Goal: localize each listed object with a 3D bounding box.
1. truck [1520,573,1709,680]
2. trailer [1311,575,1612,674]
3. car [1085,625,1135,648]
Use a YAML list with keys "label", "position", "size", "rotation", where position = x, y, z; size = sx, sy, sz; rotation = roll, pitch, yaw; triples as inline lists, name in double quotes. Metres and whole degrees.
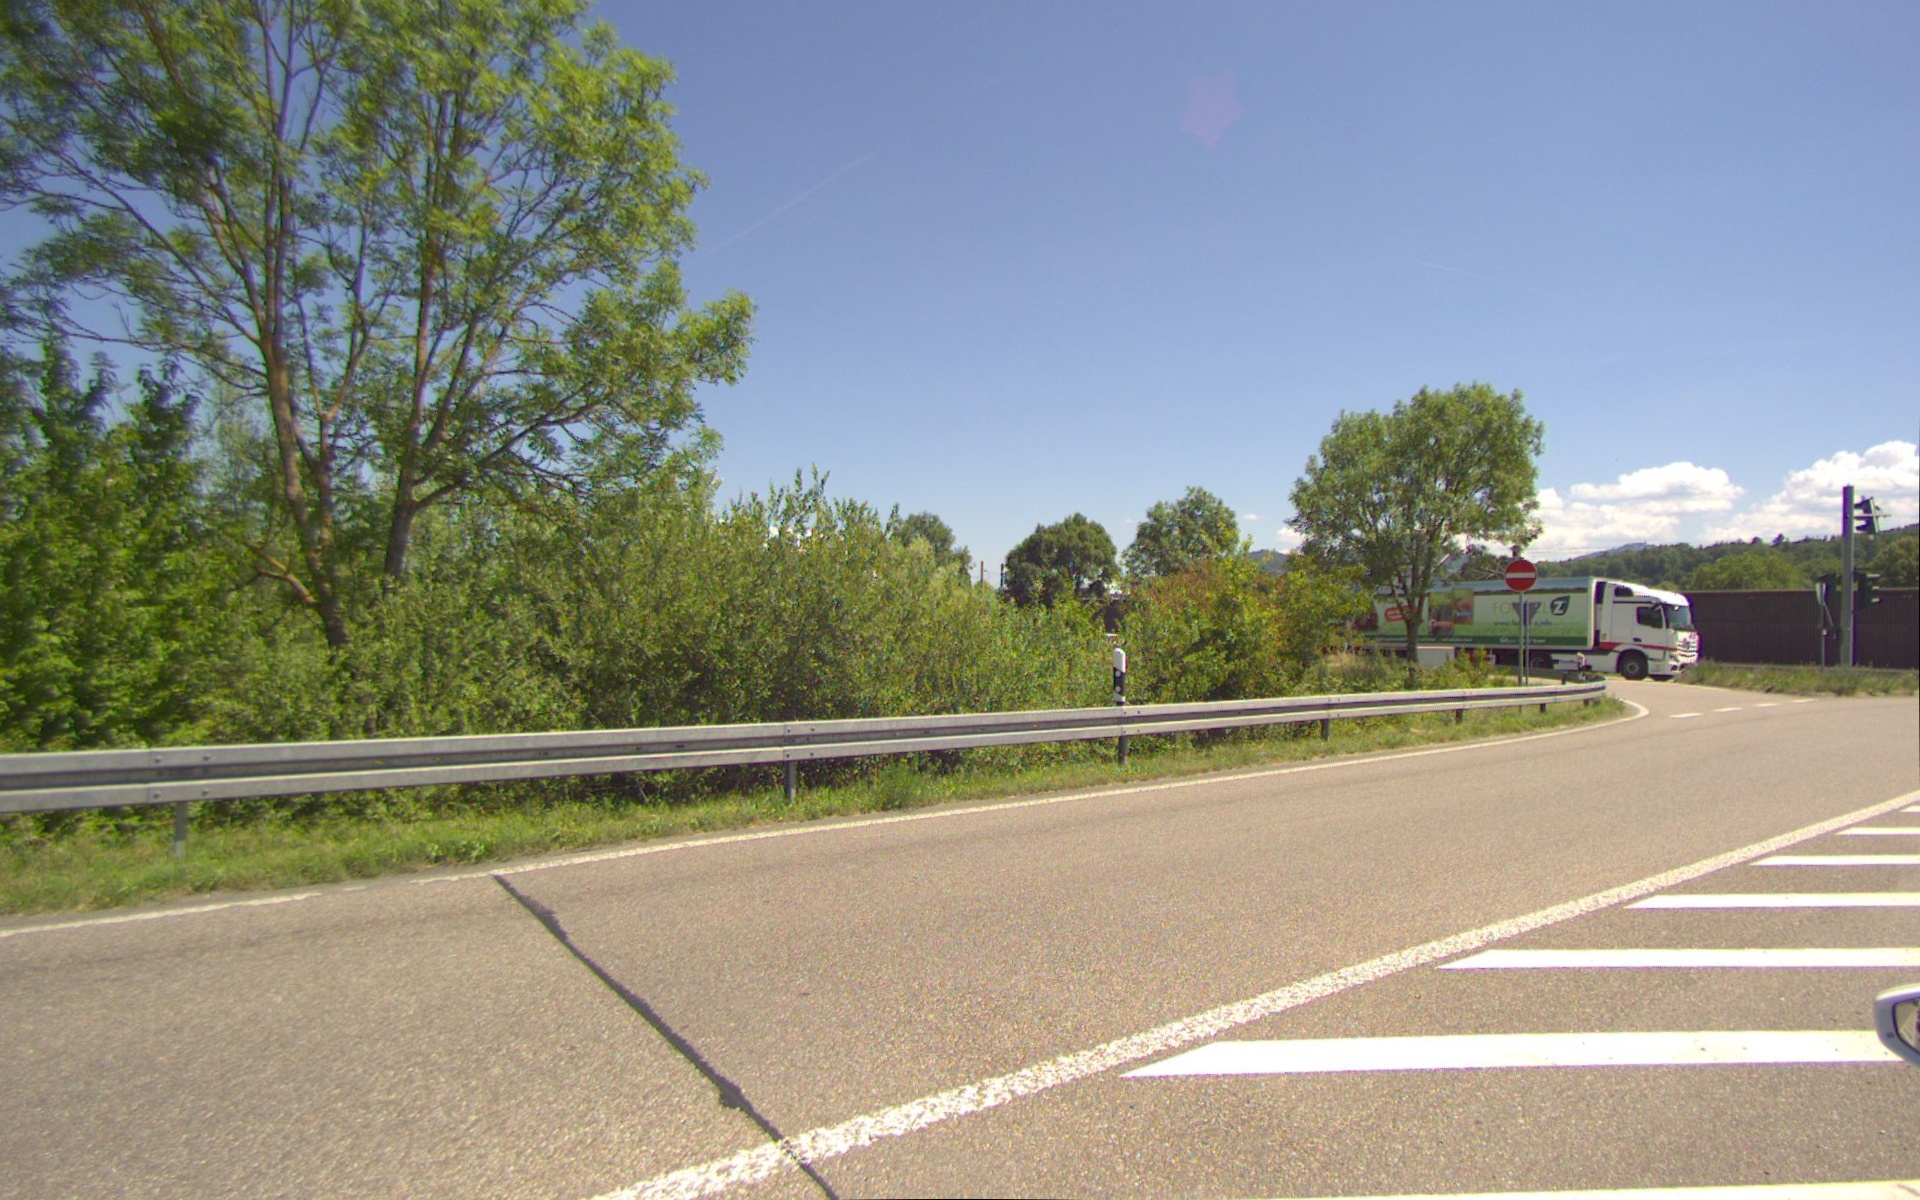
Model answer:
- label: "truck"
  position: [26.530, 1.046, 40.960]
  size: [3.027, 4.007, 5.736]
  rotation: [2, -1, -31]
- label: "trailer"
  position: [22.836, 1.050, 47.194]
  size: [3.027, 4.007, 13.074]
  rotation: [2, -1, -31]
- label: "car"
  position: [10.377, 2.520, 69.680]
  size: [1.537, 1.484, 3.455]
  rotation: [2, -1, -31]
